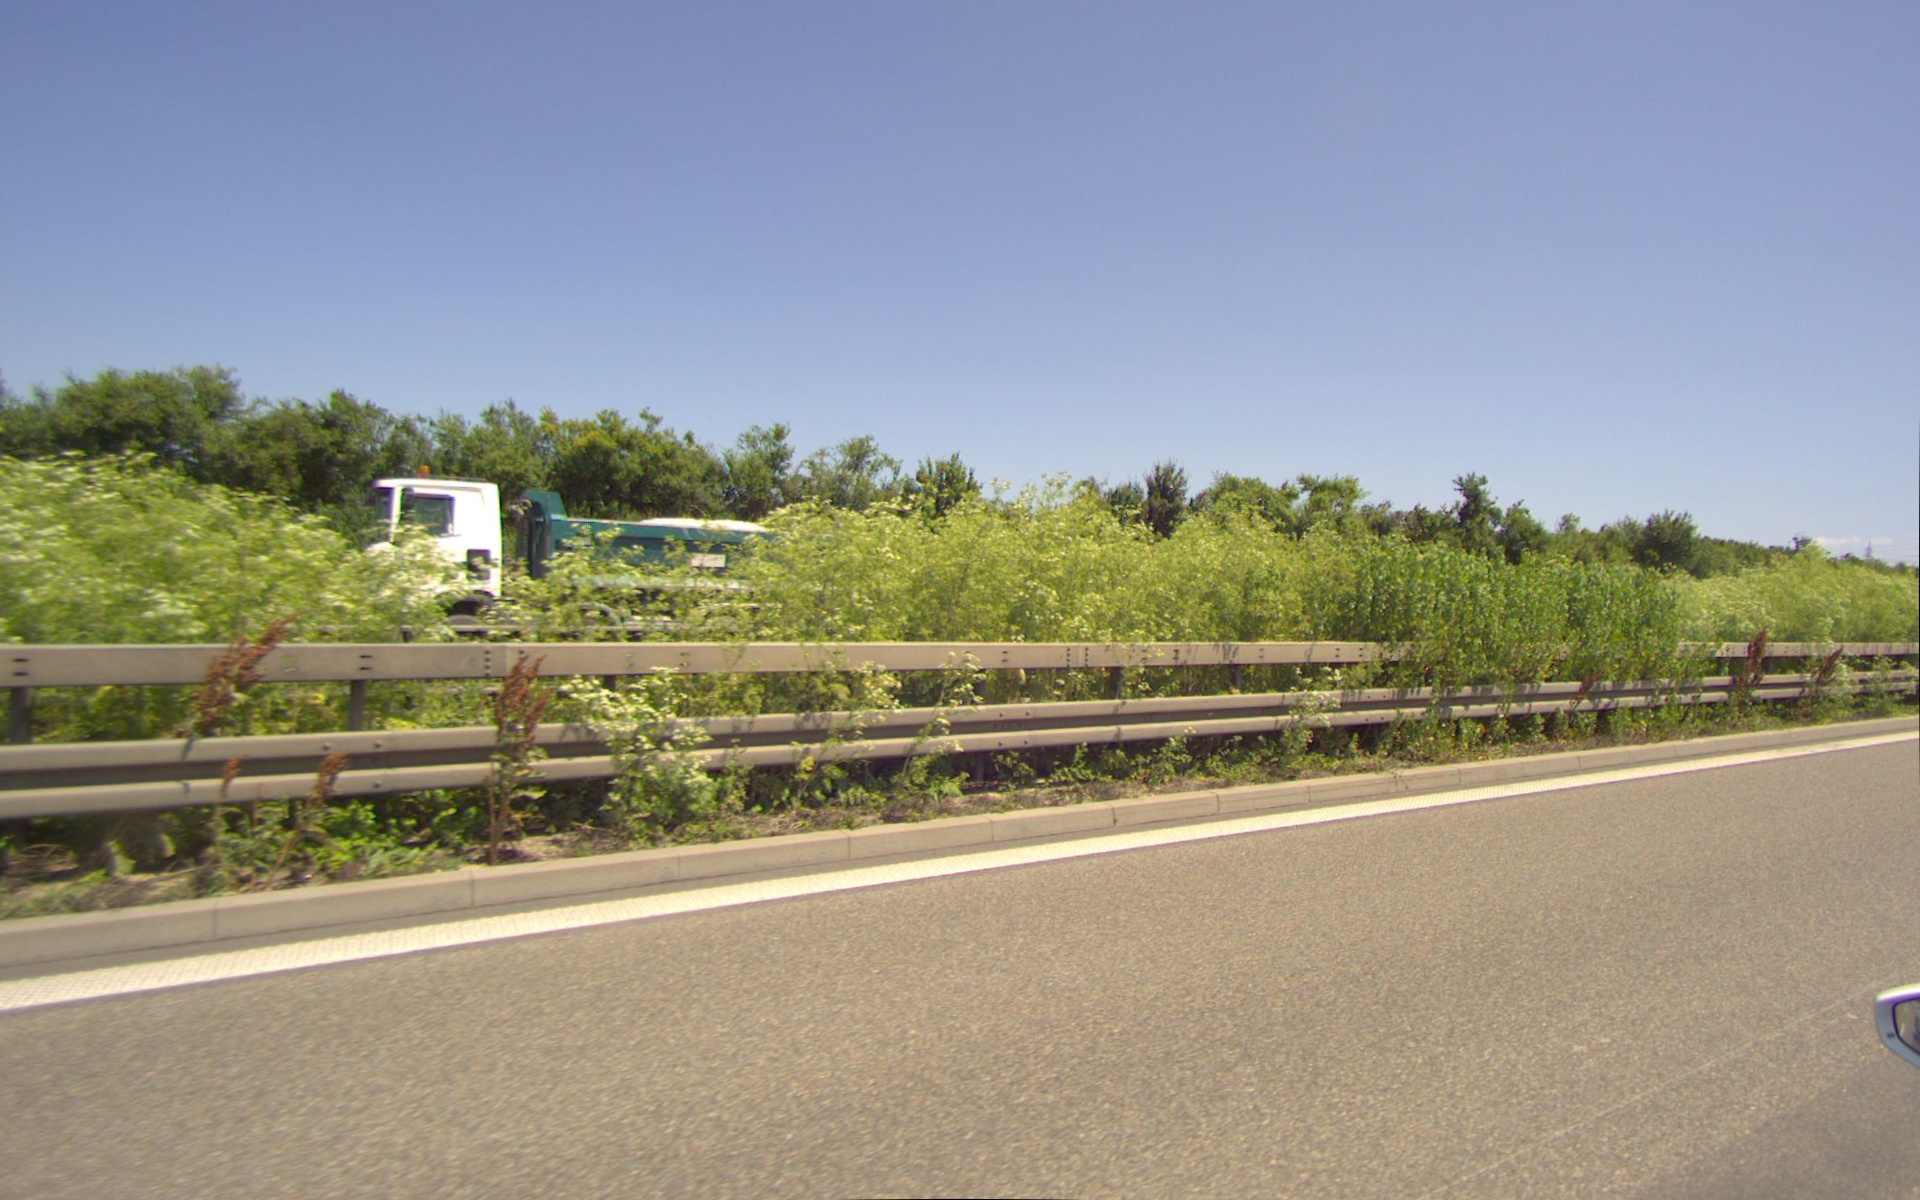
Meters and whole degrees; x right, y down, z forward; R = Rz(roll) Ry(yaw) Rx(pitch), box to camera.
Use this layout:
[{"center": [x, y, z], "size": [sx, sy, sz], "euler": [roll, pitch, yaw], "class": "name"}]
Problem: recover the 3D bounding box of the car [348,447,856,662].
[{"center": [-6.555, -0.625, 19.271], "size": [8.694, 3.397, 2.780], "euler": [1, 0, -30], "class": "car"}]
